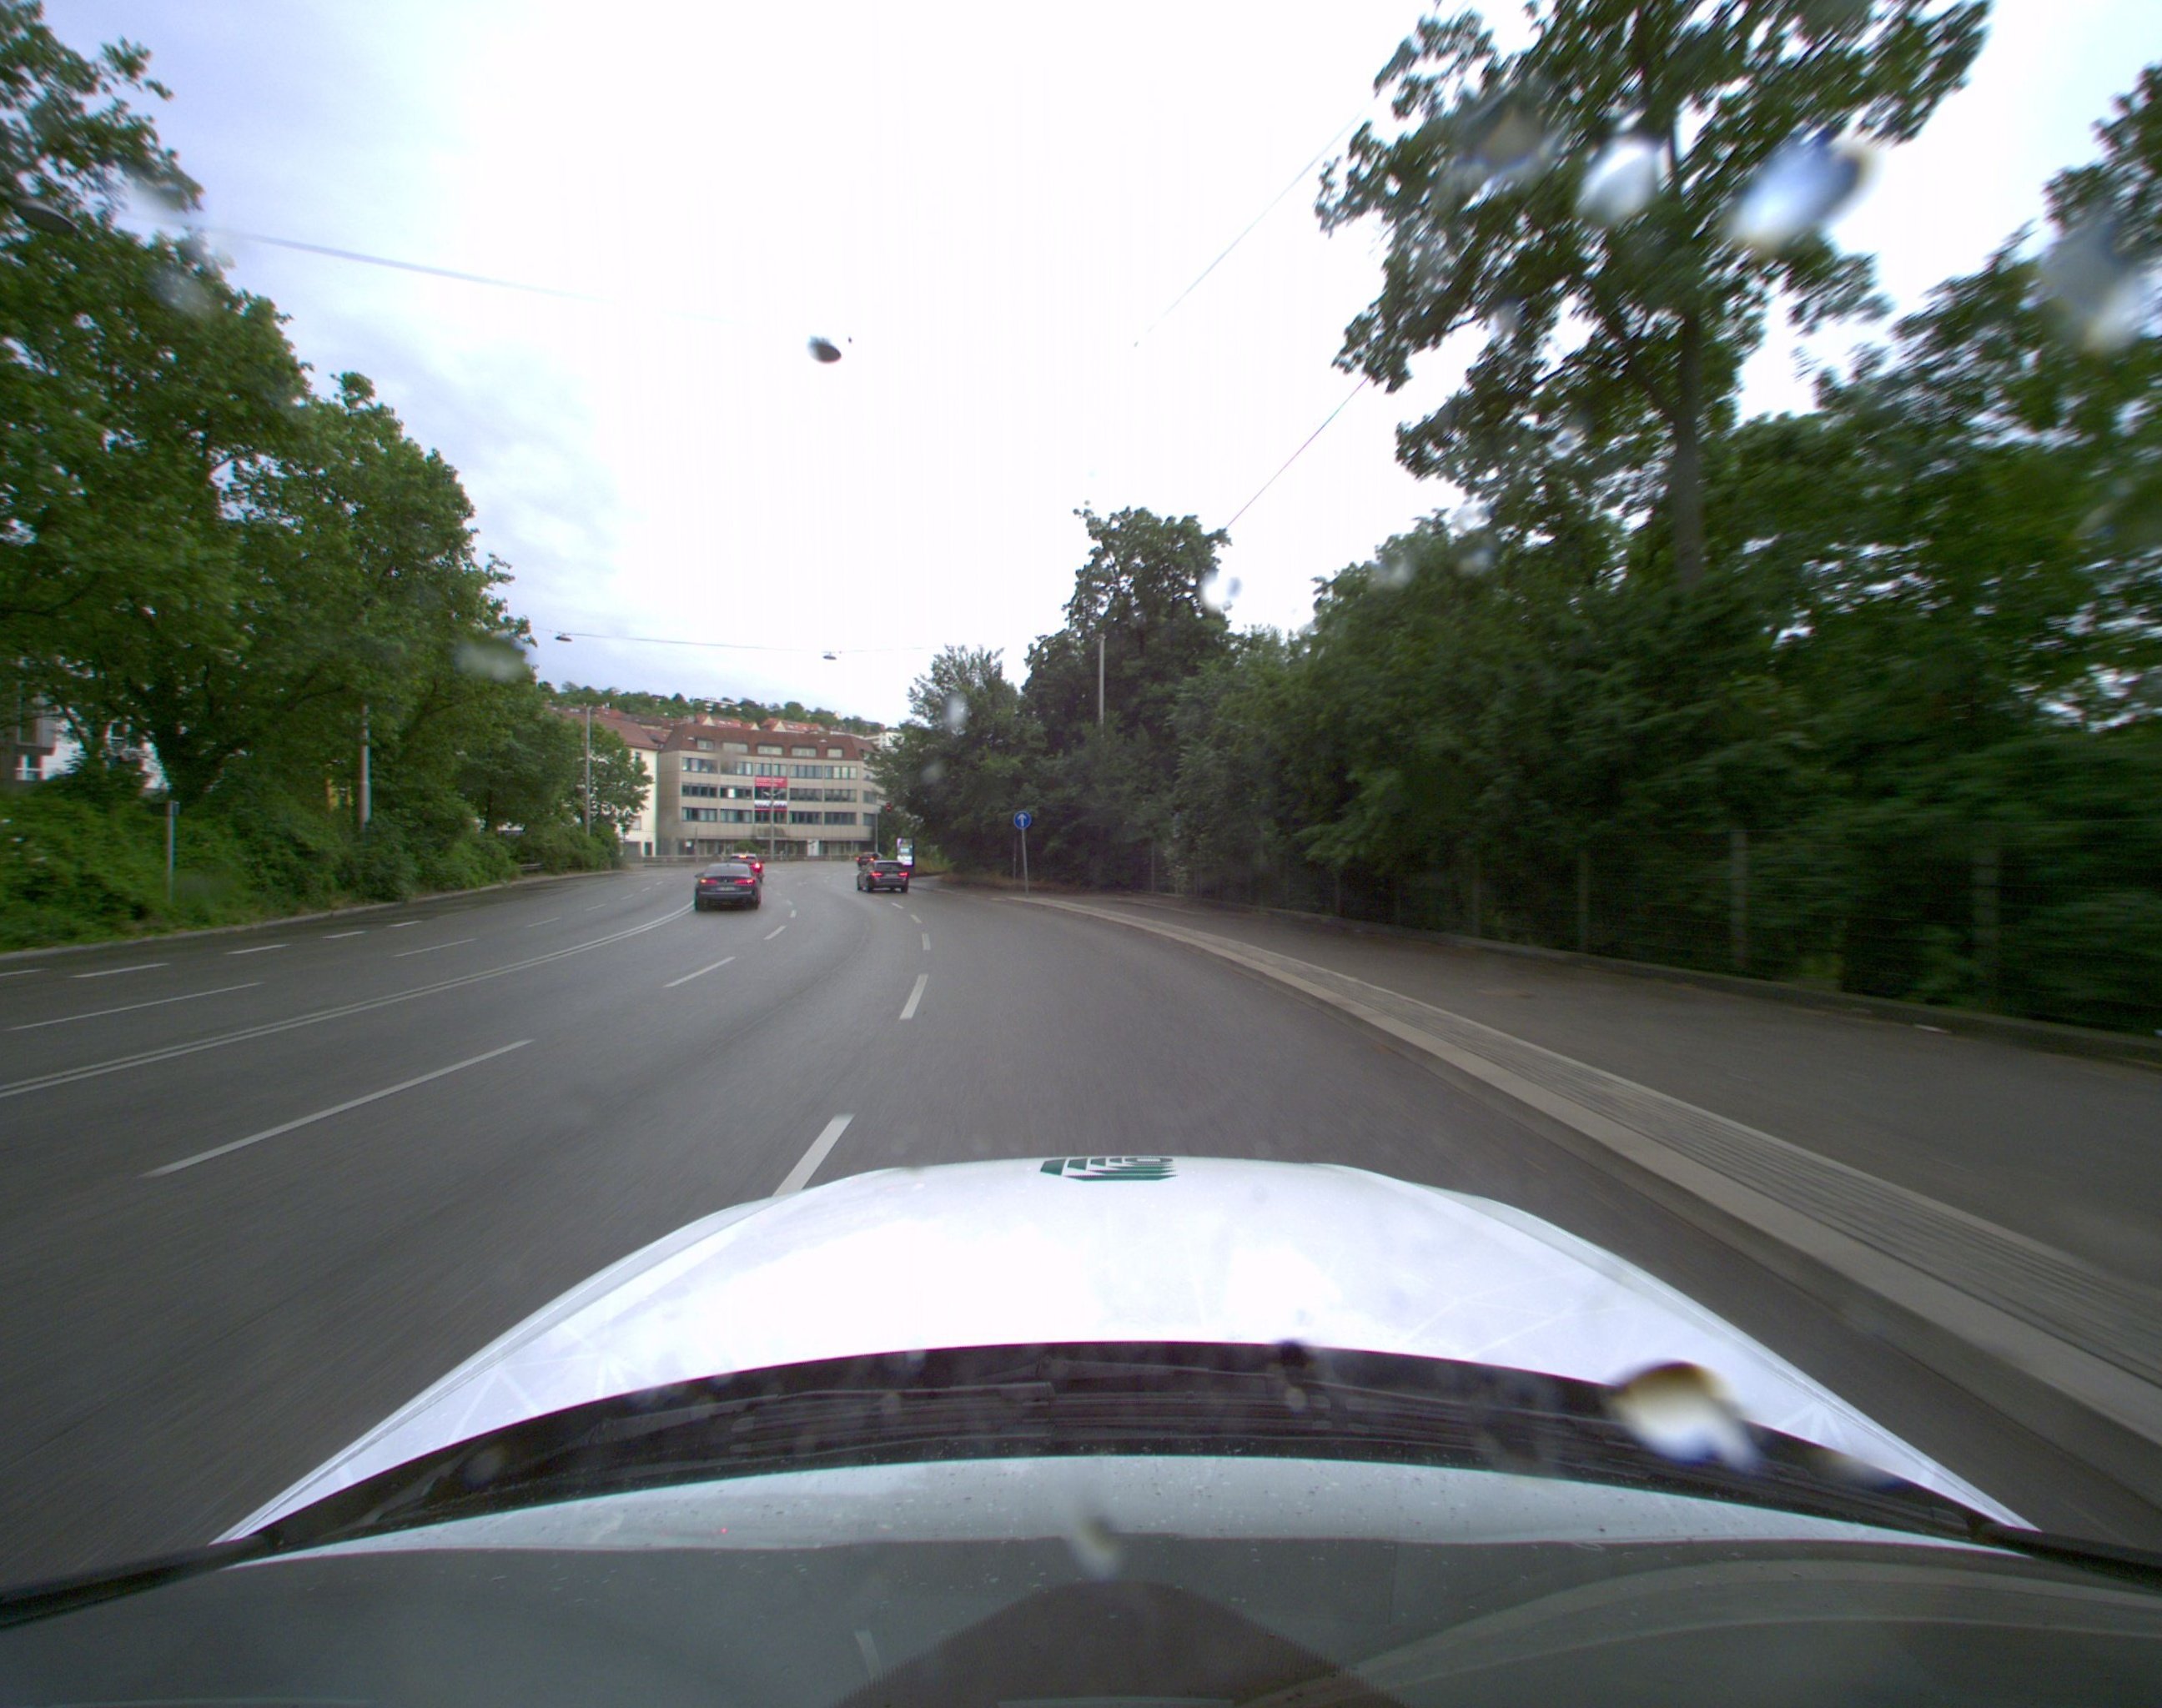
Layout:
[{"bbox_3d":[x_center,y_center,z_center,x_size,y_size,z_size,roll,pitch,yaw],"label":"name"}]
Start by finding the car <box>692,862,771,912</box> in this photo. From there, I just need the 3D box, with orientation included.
[{"bbox_3d":[-11.076,0.982,26.076,1.794,1.426,4.360,-1,-1,-16],"label":"car"}]

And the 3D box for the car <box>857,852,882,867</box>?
[{"bbox_3d":[-20.390,0.515,78.733,1.790,1.426,4.601,0,0,-7],"label":"car"}]

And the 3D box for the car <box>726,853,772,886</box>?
[{"bbox_3d":[-17.803,0.810,43.829,1.904,1.693,3.977,-1,-1,-17],"label":"car"}]

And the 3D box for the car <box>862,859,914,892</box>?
[{"bbox_3d":[-8.895,0.943,37.314,1.964,1.426,4.100,-1,-1,-18],"label":"car"}]
